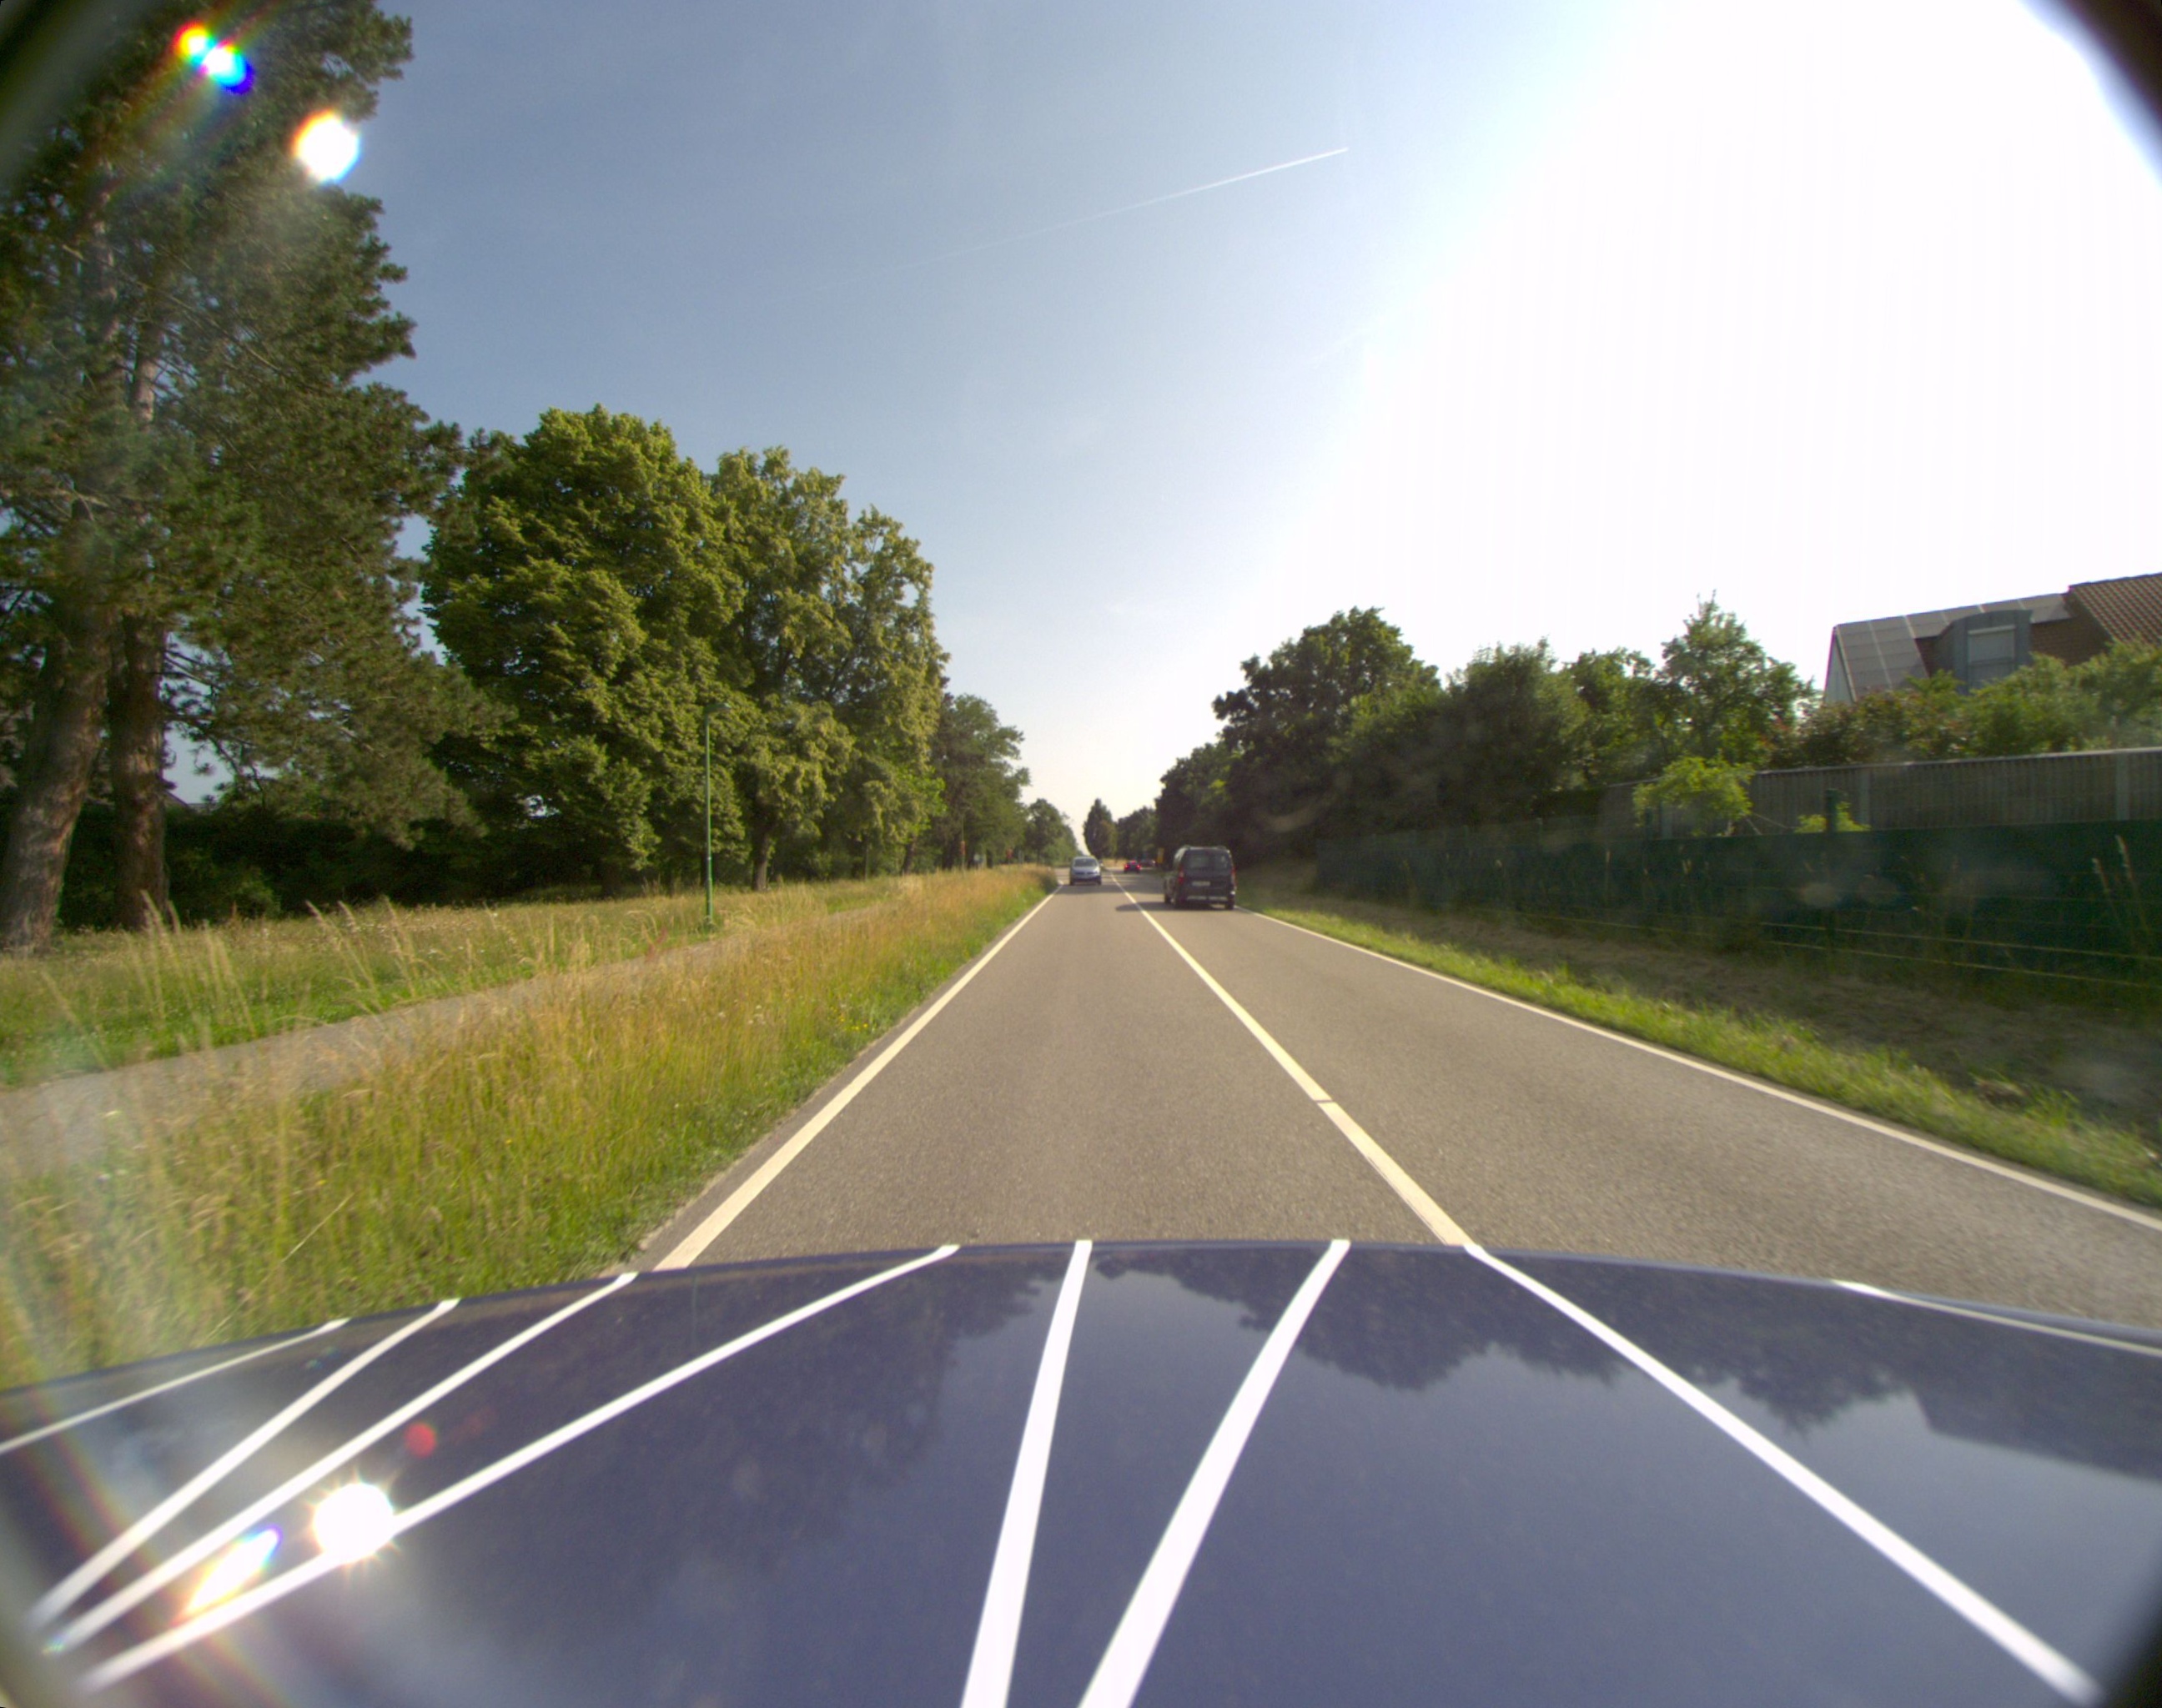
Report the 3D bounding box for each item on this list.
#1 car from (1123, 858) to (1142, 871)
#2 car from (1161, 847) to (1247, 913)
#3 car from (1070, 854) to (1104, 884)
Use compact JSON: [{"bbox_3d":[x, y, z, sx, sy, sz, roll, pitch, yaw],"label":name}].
[{"bbox_3d":[5.993,1.182,88.776,1.875,1.415,4.577,1,0,0],"label":"car"},{"bbox_3d":[3.642,0.726,23.259,1.944,1.807,4.242,1,0,1],"label":"car"},{"bbox_3d":[0.325,0.822,43.067,1.808,1.592,4.269,-1,0,0],"label":"car"}]
